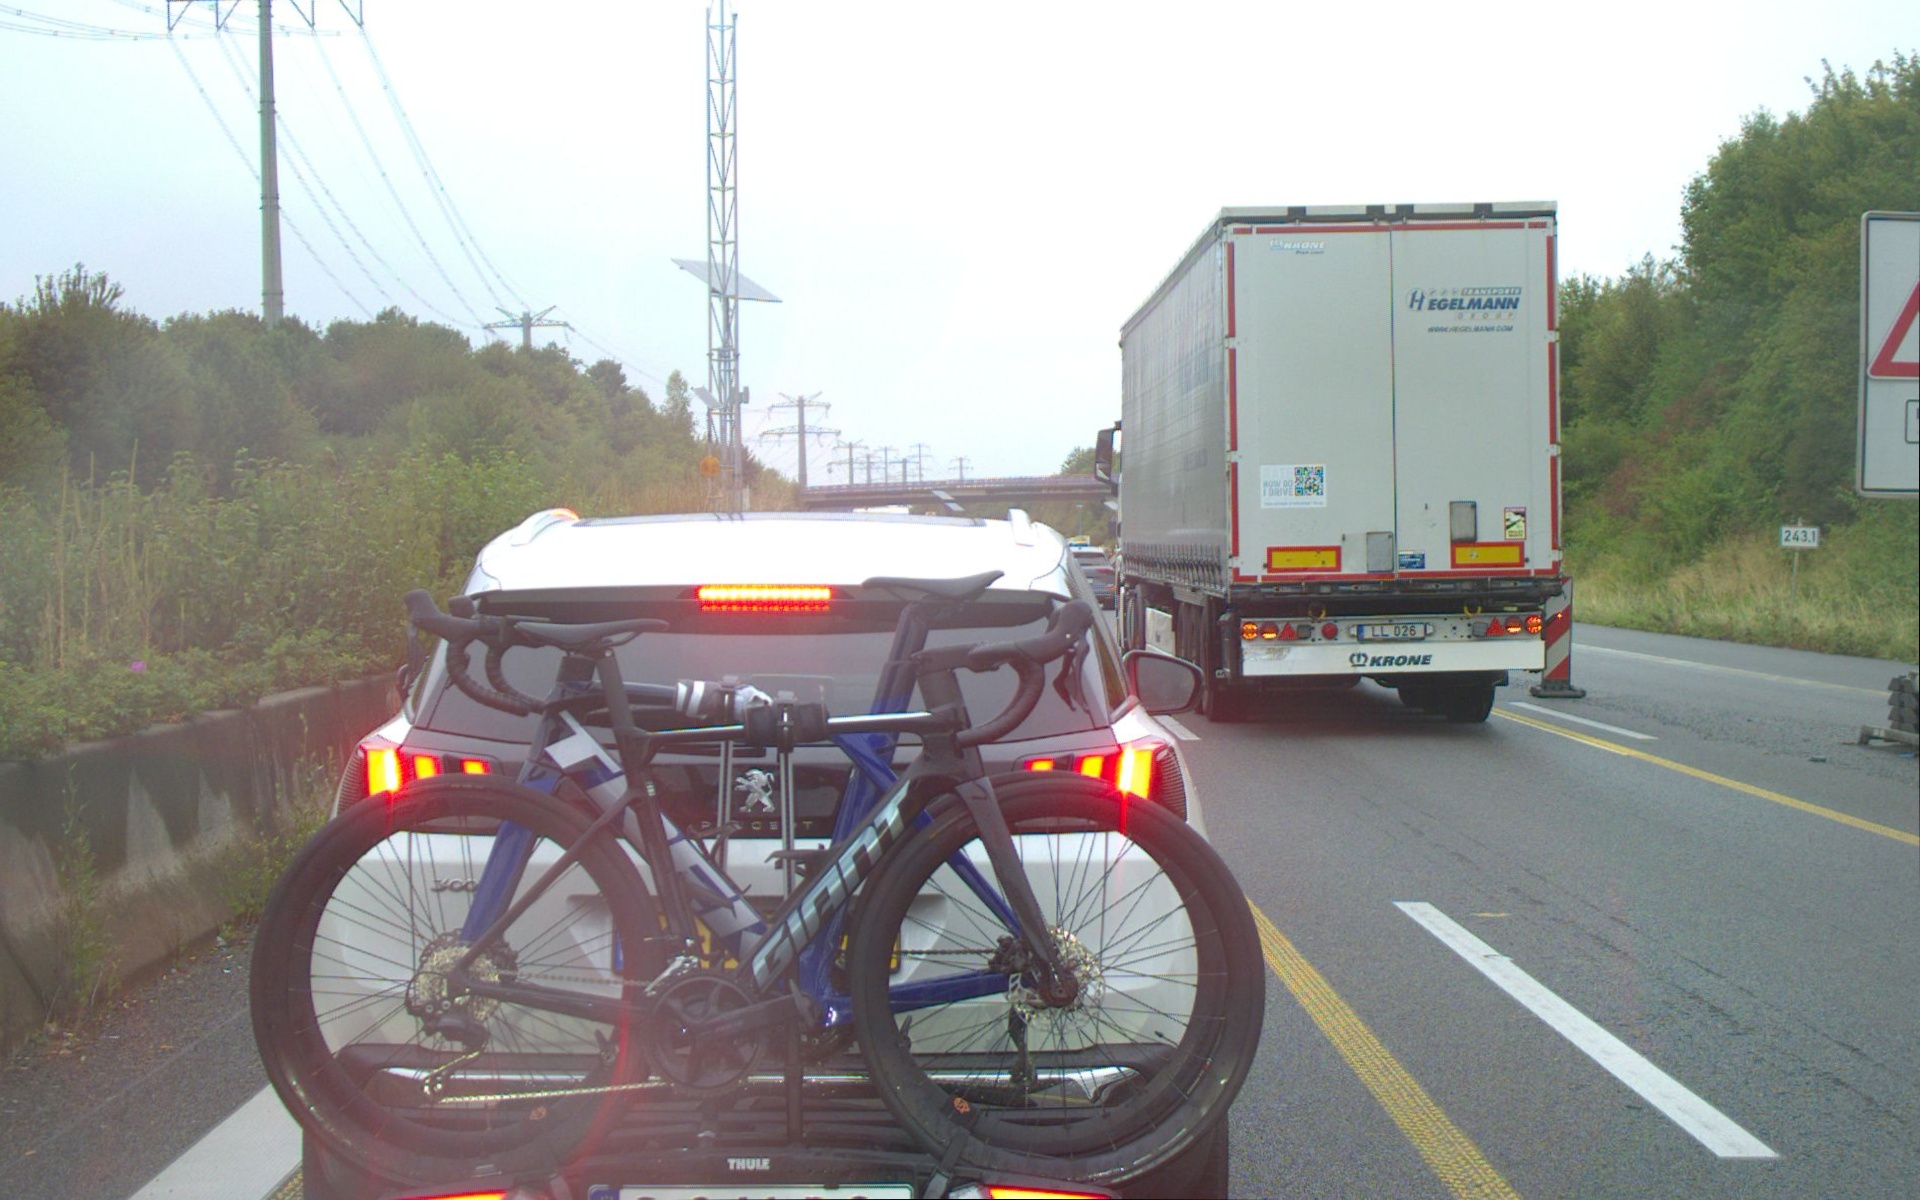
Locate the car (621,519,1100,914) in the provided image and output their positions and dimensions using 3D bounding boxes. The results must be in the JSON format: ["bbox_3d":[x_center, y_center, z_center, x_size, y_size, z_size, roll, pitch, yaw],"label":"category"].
[{"bbox_3d":[-0.408,0.413,15.304,1.850,1.525,4.000,0,1,-1],"label":"car"}]

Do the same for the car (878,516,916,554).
[{"bbox_3d":[-3.266,-3.402,179.011,1.931,1.904,4.001,0,2,-1],"label":"car"}]

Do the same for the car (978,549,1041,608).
[{"bbox_3d":[1.746,-0.778,122.991,2.148,1.966,4.001,0,2,-1],"label":"car"}]

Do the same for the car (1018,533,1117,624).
[{"bbox_3d":[2.440,-0.523,78.906,2.110,1.966,4.001,0,2,-1],"label":"car"}]

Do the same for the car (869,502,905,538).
[{"bbox_3d":[-4.054,-4.475,191.614,1.931,1.966,4.001,0,2,-1],"label":"car"}]

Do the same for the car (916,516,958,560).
[{"bbox_3d":[-1.062,-2.874,158.694,1.931,1.966,4.001,0,2,-1],"label":"car"}]

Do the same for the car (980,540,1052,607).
[{"bbox_3d":[1.726,-0.852,107.794,2.148,1.966,4.001,0,2,-1],"label":"car"}]

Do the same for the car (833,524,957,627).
[{"bbox_3d":[-0.993,-0.407,53.183,1.850,1.525,4.000,0,1,-1],"label":"car"}]

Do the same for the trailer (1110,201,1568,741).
[{"bbox_3d":[3.150,-1.095,32.690,2.692,4.062,13.634,0,1,-1],"label":"trailer"}]

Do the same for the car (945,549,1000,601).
[{"bbox_3d":[0.475,-1.009,138.634,2.148,1.966,4.001,0,2,-1],"label":"car"}]

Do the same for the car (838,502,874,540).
[{"bbox_3d":[-6.819,-5.188,225.821,2.257,2.416,4.001,0,2,-1],"label":"car"}]

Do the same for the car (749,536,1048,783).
[{"bbox_3d":[-0.402,0.332,23.263,1.850,1.525,4.000,0,1,-1],"label":"car"}]

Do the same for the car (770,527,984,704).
[{"bbox_3d":[-0.745,0.095,31.779,1.850,1.525,4.000,0,1,-1],"label":"car"}]

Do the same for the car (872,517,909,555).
[{"bbox_3d":[-3.745,-3.480,186.120,1.931,1.966,4.001,0,2,-1],"label":"car"}]

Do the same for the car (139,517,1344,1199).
[{"bbox_3d":[-0.362,0.593,7.678,1.850,1.525,4.769,0,1,-1],"label":"car"}]

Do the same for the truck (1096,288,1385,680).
[{"bbox_3d":[3.040,-1.261,38.947,2.660,4.062,6.539,0,1,-1],"label":"truck"}]
